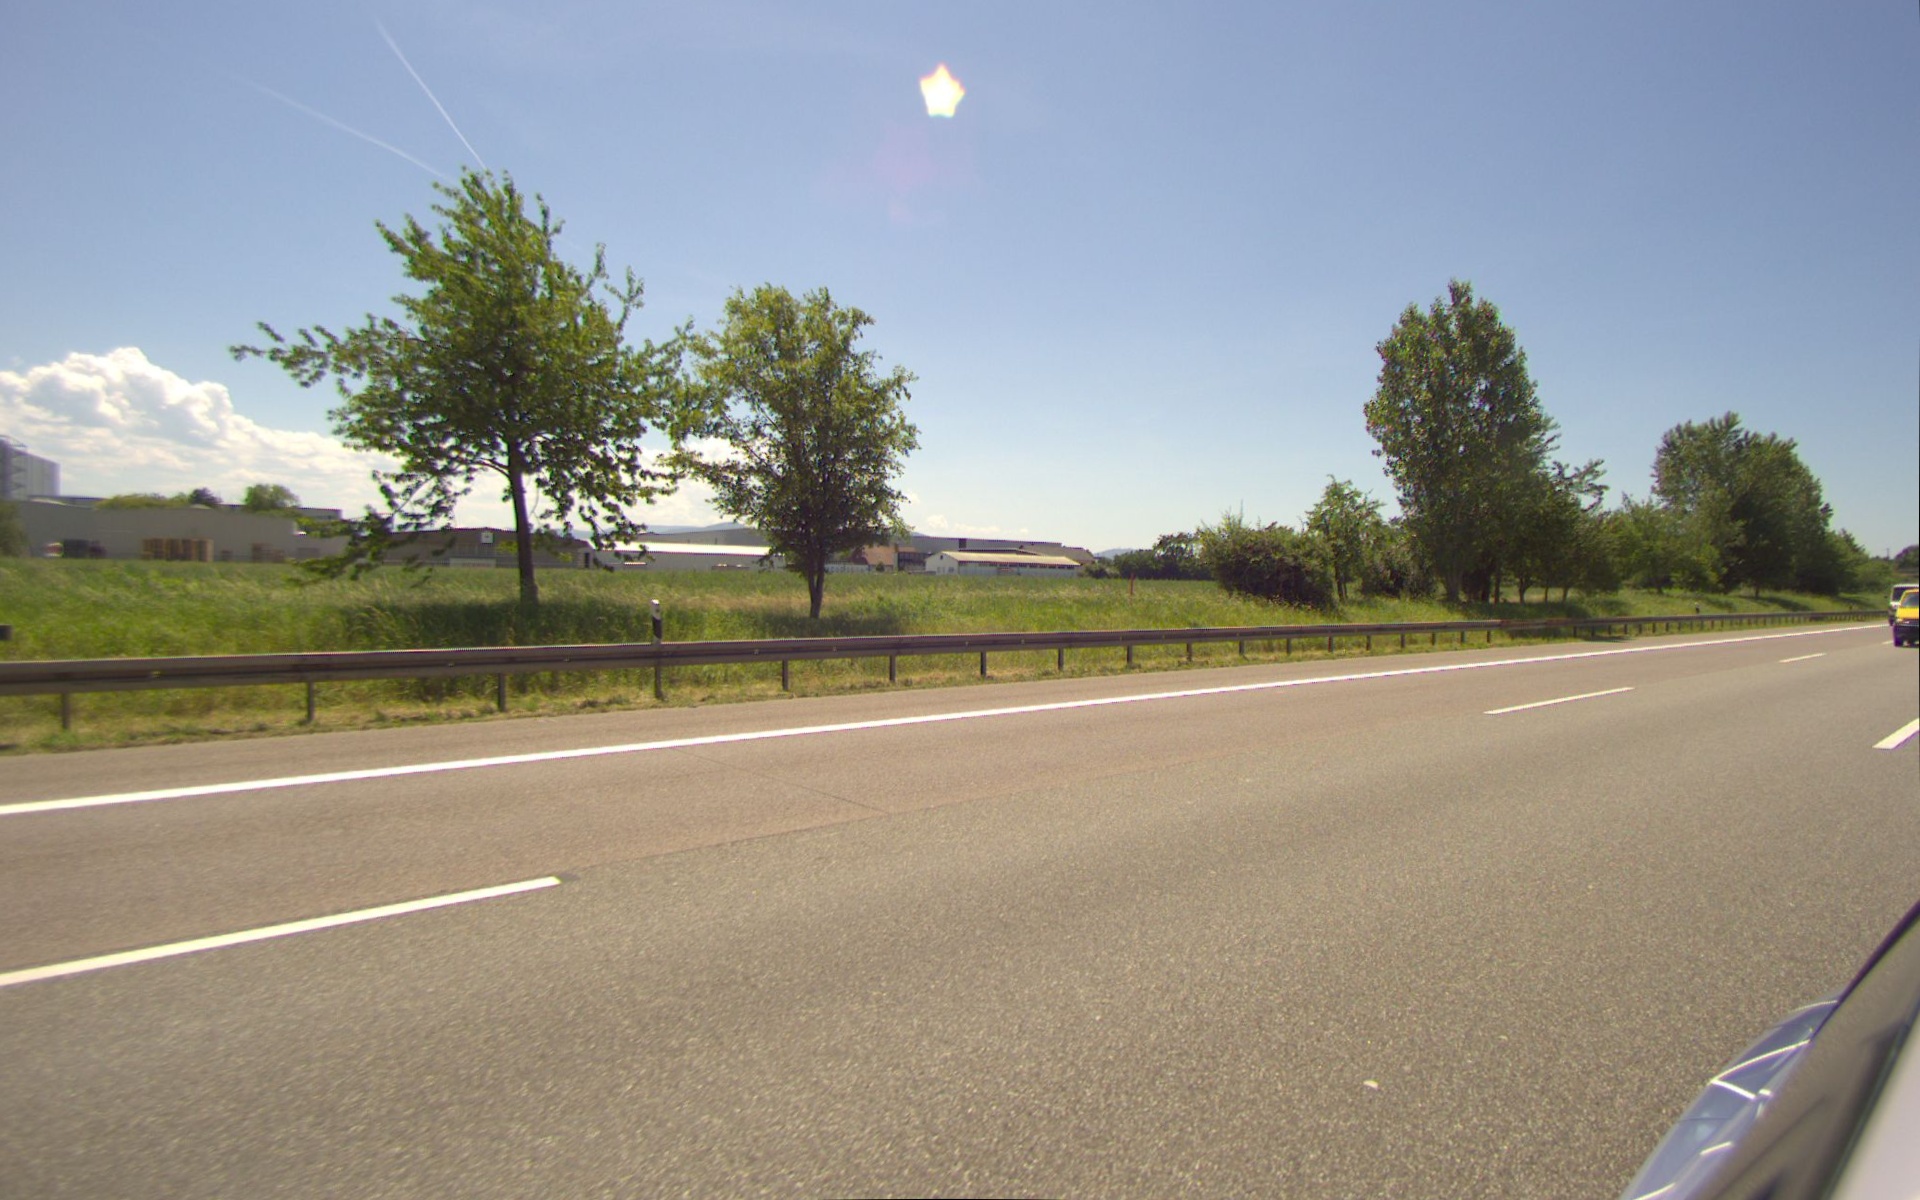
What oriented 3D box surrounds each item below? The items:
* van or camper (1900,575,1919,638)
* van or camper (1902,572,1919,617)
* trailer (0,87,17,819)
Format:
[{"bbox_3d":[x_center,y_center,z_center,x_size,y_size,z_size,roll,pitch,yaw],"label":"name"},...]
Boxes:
[{"bbox_3d":[33.435,0.235,34.016,5.781,2.029,2.062,0,1,-41],"label":"van or camper"},{"bbox_3d":[60.937,-0.334,63.492,6.258,2.737,2.117,0,0,-42],"label":"van or camper"},{"bbox_3d":[-10.179,-0.746,0.981,13.397,4.008,2.658,0,0,-41],"label":"trailer"}]
